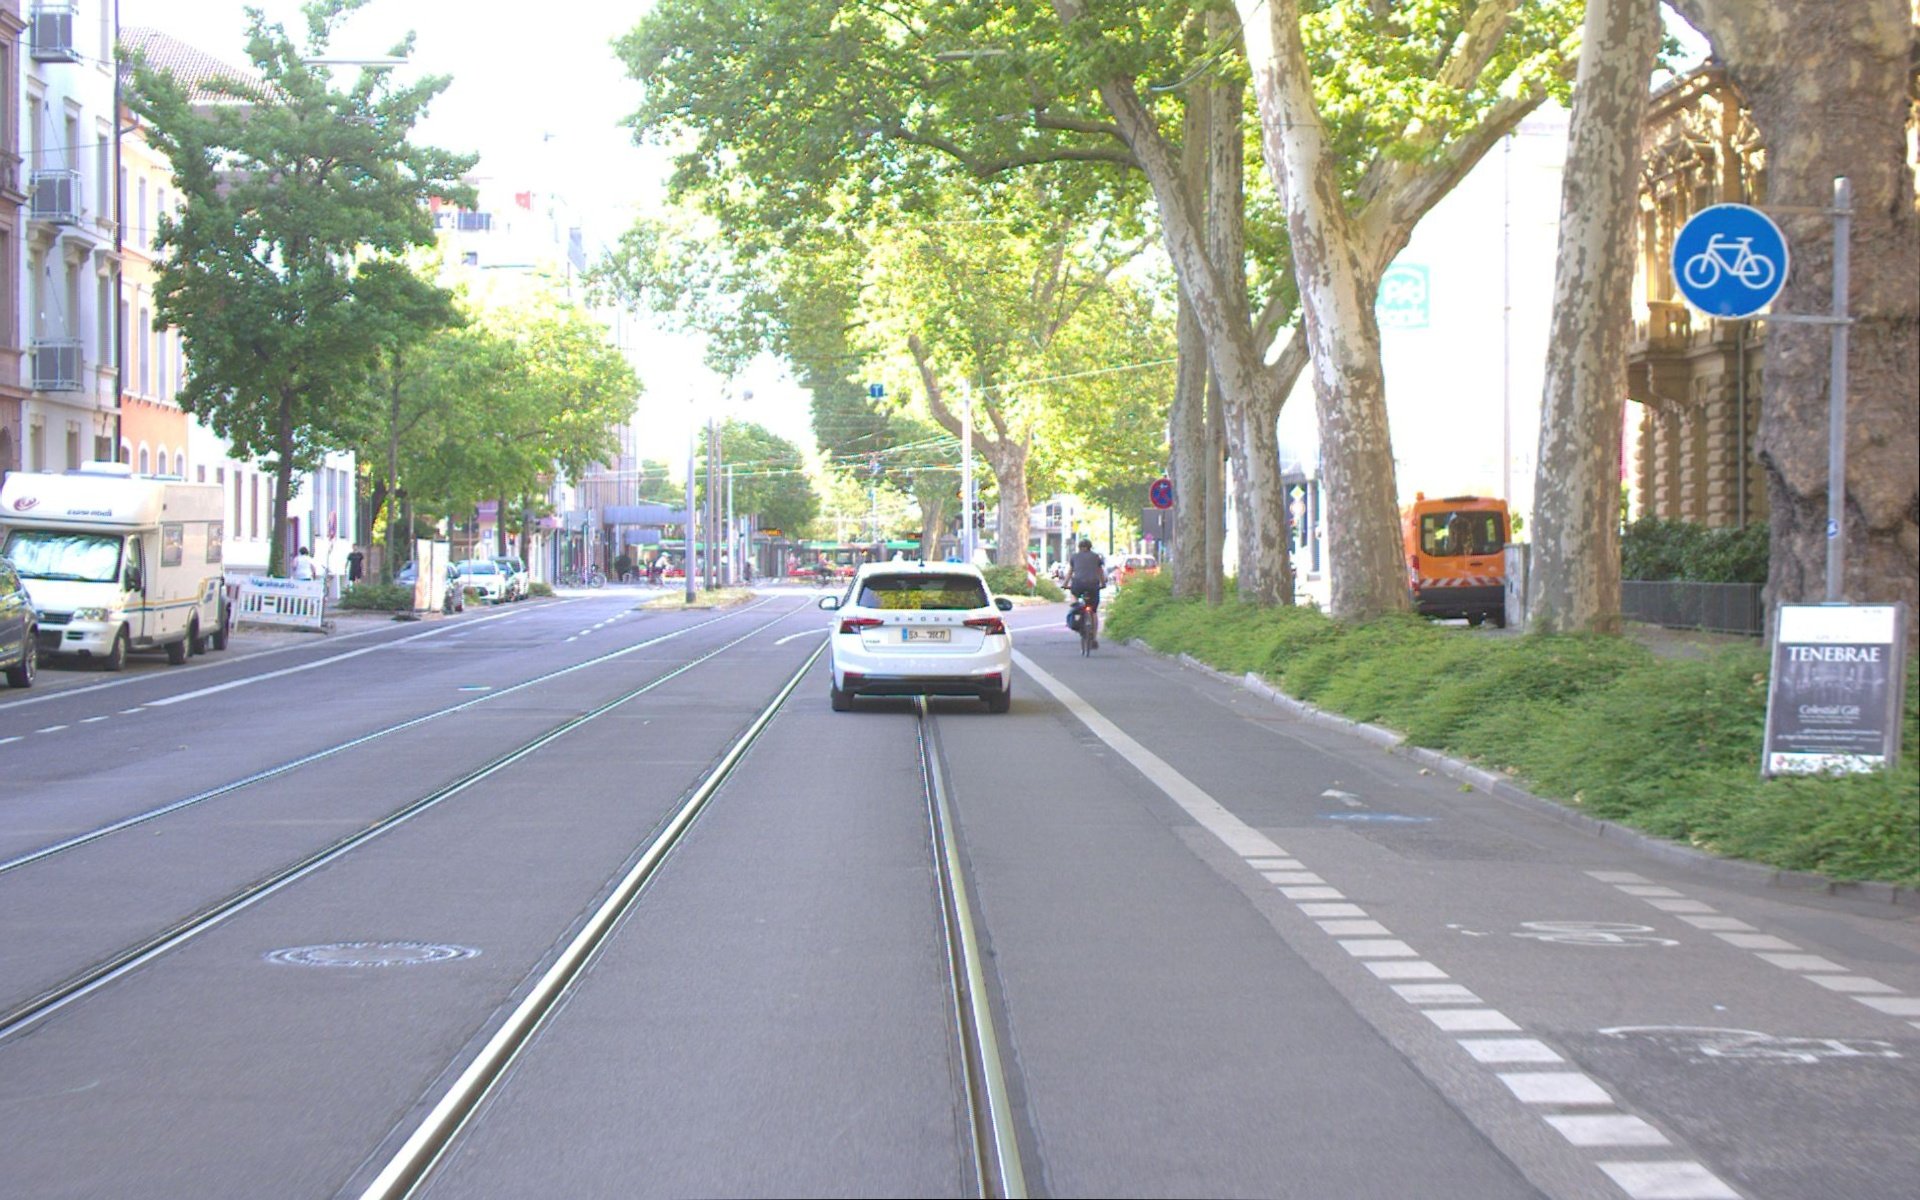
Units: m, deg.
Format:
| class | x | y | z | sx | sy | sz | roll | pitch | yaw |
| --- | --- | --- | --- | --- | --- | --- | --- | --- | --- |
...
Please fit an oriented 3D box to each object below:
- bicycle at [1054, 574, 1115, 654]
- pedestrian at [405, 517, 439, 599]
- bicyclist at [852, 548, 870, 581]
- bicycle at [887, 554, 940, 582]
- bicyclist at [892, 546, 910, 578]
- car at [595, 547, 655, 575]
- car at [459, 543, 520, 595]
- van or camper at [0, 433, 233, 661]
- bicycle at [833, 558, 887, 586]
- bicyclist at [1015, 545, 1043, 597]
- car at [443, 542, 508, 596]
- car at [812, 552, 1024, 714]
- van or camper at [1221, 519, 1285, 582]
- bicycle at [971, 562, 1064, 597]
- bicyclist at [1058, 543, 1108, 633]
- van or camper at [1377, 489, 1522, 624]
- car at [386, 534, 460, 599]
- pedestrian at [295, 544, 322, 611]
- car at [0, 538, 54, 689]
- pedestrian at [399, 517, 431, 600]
| class | x | y | z | sx | sy | sz | roll | pitch | yaw |
| --- | --- | --- | --- | --- | --- | --- | --- | --- | --- |
| bicycle | 1.863 | 0.192 | 51.755 | 0.680 | 1.151 | 2.964 | 1 | 1 | -2 |
| pedestrian | -13.275 | -1.034 | 84.825 | 0.646 | 1.996 | 0.749 | 1 | 1 | 3 |
| bicyclist | -4.698 | -1.683 | 163.111 | 0.631 | 1.517 | 0.610 | -1 | 2 | -36 |
| bicycle | -2.219 | -1.552 | 164.816 | 2.680 | 1.323 | 0.615 | -1 | 1 | -36 |
| bicyclist | -2.805 | -1.822 | 164.376 | 0.631 | 1.517 | 0.610 | -1 | 2 | -36 |
| car | -22.904 | -2.639 | 235.053 | 3.794 | 1.812 | 1.803 | 1 | 0 | 4 |
| car | -16.389 | -1.090 | 119.822 | 1.793 | 1.720 | 3.785 | 1 | 1 | -3 |
| van or camper | -12.660 | -0.783 | 51.067 | 2.216 | 3.129 | 7.114 | 1 | 1 | 0 |
| bicycle | -4.728 | -1.337 | 163.101 | 2.680 | 1.323 | 0.615 | -1 | 1 | -36 |
| bicyclist | 2.106 | -0.897 | 104.810 | 0.737 | 1.583 | 0.586 | 0 | 1 | 11 |
| car | -16.154 | -1.044 | 114.735 | 1.793 | 1.720 | 3.785 | 1 | 1 | -3 |
| car | -0.470 | 0.284 | 33.872 | 1.842 | 1.475 | 3.839 | 1 | 1 | -4 |
| van or camper | 11.245 | -1.896 | 132.161 | 1.993 | 2.335 | 4.000 | 1 | 1 | -1 |
| bicycle | 1.751 | -0.622 | 104.889 | 2.771 | 0.996 | 0.592 | 2 | 0 | 13 |
| bicyclist | 1.853 | -0.185 | 51.755 | 0.679 | 1.334 | 0.525 | 1 | 0 | -2 |
| van or camper | 9.415 | -0.833 | 66.536 | 2.027 | 2.455 | 5.108 | 1 | 1 | 0 |
| car | -14.842 | -0.942 | 95.159 | 1.641 | 1.720 | 3.785 | 1 | 1 | -3 |
| pedestrian | -17.220 | -0.595 | 90.875 | 0.600 | 1.766 | 0.701 | 1 | 0 | -5 |
| car | -12.324 | 0.127 | 41.212 | 1.964 | 1.775 | 4.471 | 1 | 1 | -3 |
| pedestrian | -13.286 | -1.014 | 83.773 | 0.601 | 1.996 | 0.749 | 1 | 1 | 3 |
